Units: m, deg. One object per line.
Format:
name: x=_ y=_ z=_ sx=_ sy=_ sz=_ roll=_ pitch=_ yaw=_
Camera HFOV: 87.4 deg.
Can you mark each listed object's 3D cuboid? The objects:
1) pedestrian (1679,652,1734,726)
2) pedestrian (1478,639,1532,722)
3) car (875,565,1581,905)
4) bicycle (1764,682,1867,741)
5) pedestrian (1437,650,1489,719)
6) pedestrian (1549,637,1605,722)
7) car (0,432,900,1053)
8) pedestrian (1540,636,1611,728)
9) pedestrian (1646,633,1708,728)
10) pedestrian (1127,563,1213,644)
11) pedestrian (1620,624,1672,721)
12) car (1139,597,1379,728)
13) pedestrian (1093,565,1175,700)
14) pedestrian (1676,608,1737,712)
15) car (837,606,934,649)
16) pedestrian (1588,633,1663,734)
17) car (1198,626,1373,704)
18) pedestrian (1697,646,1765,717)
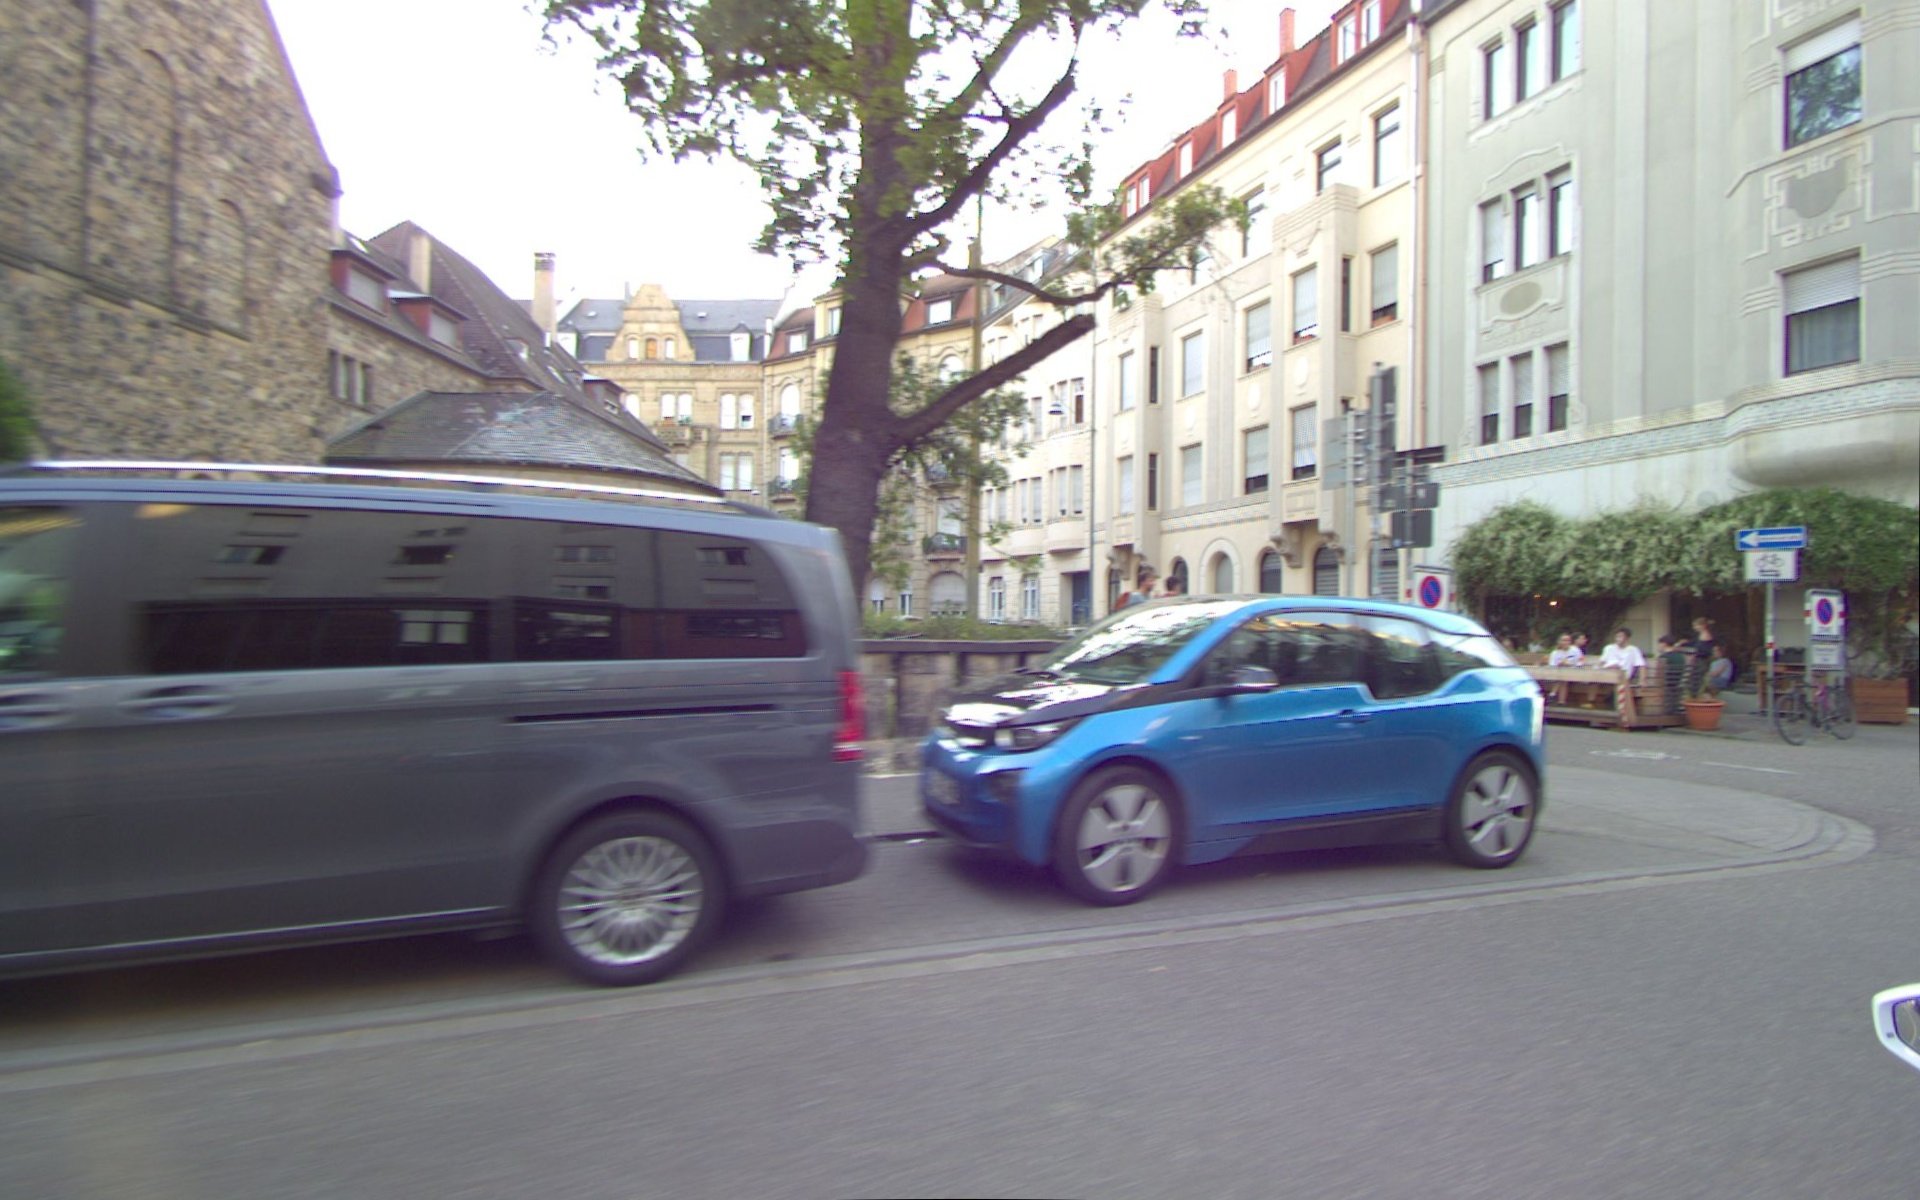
pedestrian: x=12.916 y=1.531 z=17.383 sx=0.597 sy=1.230 sz=0.529 roll=1 pitch=-1 yaw=-21
pedestrian: x=9.682 y=1.413 z=17.860 sx=0.635 sy=1.430 sz=0.571 roll=1 pitch=-1 yaw=-21
car: x=1.605 y=0.676 z=6.122 sx=3.943 sy=1.576 sz=1.638 roll=1 pitch=-1 yaw=-20
bicycle: x=12.241 y=1.574 z=14.364 sx=1.755 sy=0.705 sz=0.422 roll=-1 pitch=0 yaw=-25
pedestrian: x=9.286 y=1.544 z=18.549 sx=0.565 sy=1.223 sz=0.641 roll=1 pitch=-1 yaw=-22
pedestrian: x=10.896 y=1.388 z=17.749 sx=0.635 sy=1.462 sz=0.571 roll=1 pitch=-1 yaw=-21
car: x=-3.027 y=0.451 z=4.090 sx=5.210 sy=1.891 sz=1.991 roll=1 pitch=-1 yaw=-21
pedestrian: x=10.275 y=1.345 z=16.768 sx=0.772 sy=1.488 sz=0.700 roll=1 pitch=-1 yaw=-23
pedestrian: x=11.590 y=1.290 z=16.249 sx=0.635 sy=1.488 sz=0.570 roll=1 pitch=-1 yaw=-24
pedestrian: x=2.687 y=0.060 z=12.868 sx=0.825 sy=0.993 sz=0.704 roll=1 pitch=-1 yaw=-24
pedestrian: x=11.797 y=1.232 z=17.276 sx=0.538 sy=1.642 sz=0.539 roll=1 pitch=-1 yaw=-22
car: x=4.730 y=0.957 z=16.506 sx=1.861 sy=1.868 sz=3.985 roll=1 pitch=-2 yaw=-18
pedestrian: x=2.330 y=0.437 z=13.488 sx=0.825 sy=1.744 sz=0.704 roll=1 pitch=-1 yaw=-24
pedestrian: x=12.455 y=0.981 z=16.756 sx=0.560 sy=1.697 sz=0.613 roll=1 pitch=-1 yaw=-21
car: x=-3.701 y=1.329 z=49.428 sx=5.098 sy=1.884 sz=1.798 roll=0 pitch=-3 yaw=45
pedestrian: x=10.655 y=1.311 z=16.088 sx=0.772 sy=1.561 sz=0.700 roll=1 pitch=-1 yaw=-23
car: x=7.654 y=1.484 z=24.015 sx=1.715 sy=1.639 sz=4.130 roll=4 pitch=-3 yaw=-21
pedestrian: x=13.916 y=1.462 z=18.136 sx=0.767 sy=1.230 sz=0.689 roll=1 pitch=-1 yaw=-21
